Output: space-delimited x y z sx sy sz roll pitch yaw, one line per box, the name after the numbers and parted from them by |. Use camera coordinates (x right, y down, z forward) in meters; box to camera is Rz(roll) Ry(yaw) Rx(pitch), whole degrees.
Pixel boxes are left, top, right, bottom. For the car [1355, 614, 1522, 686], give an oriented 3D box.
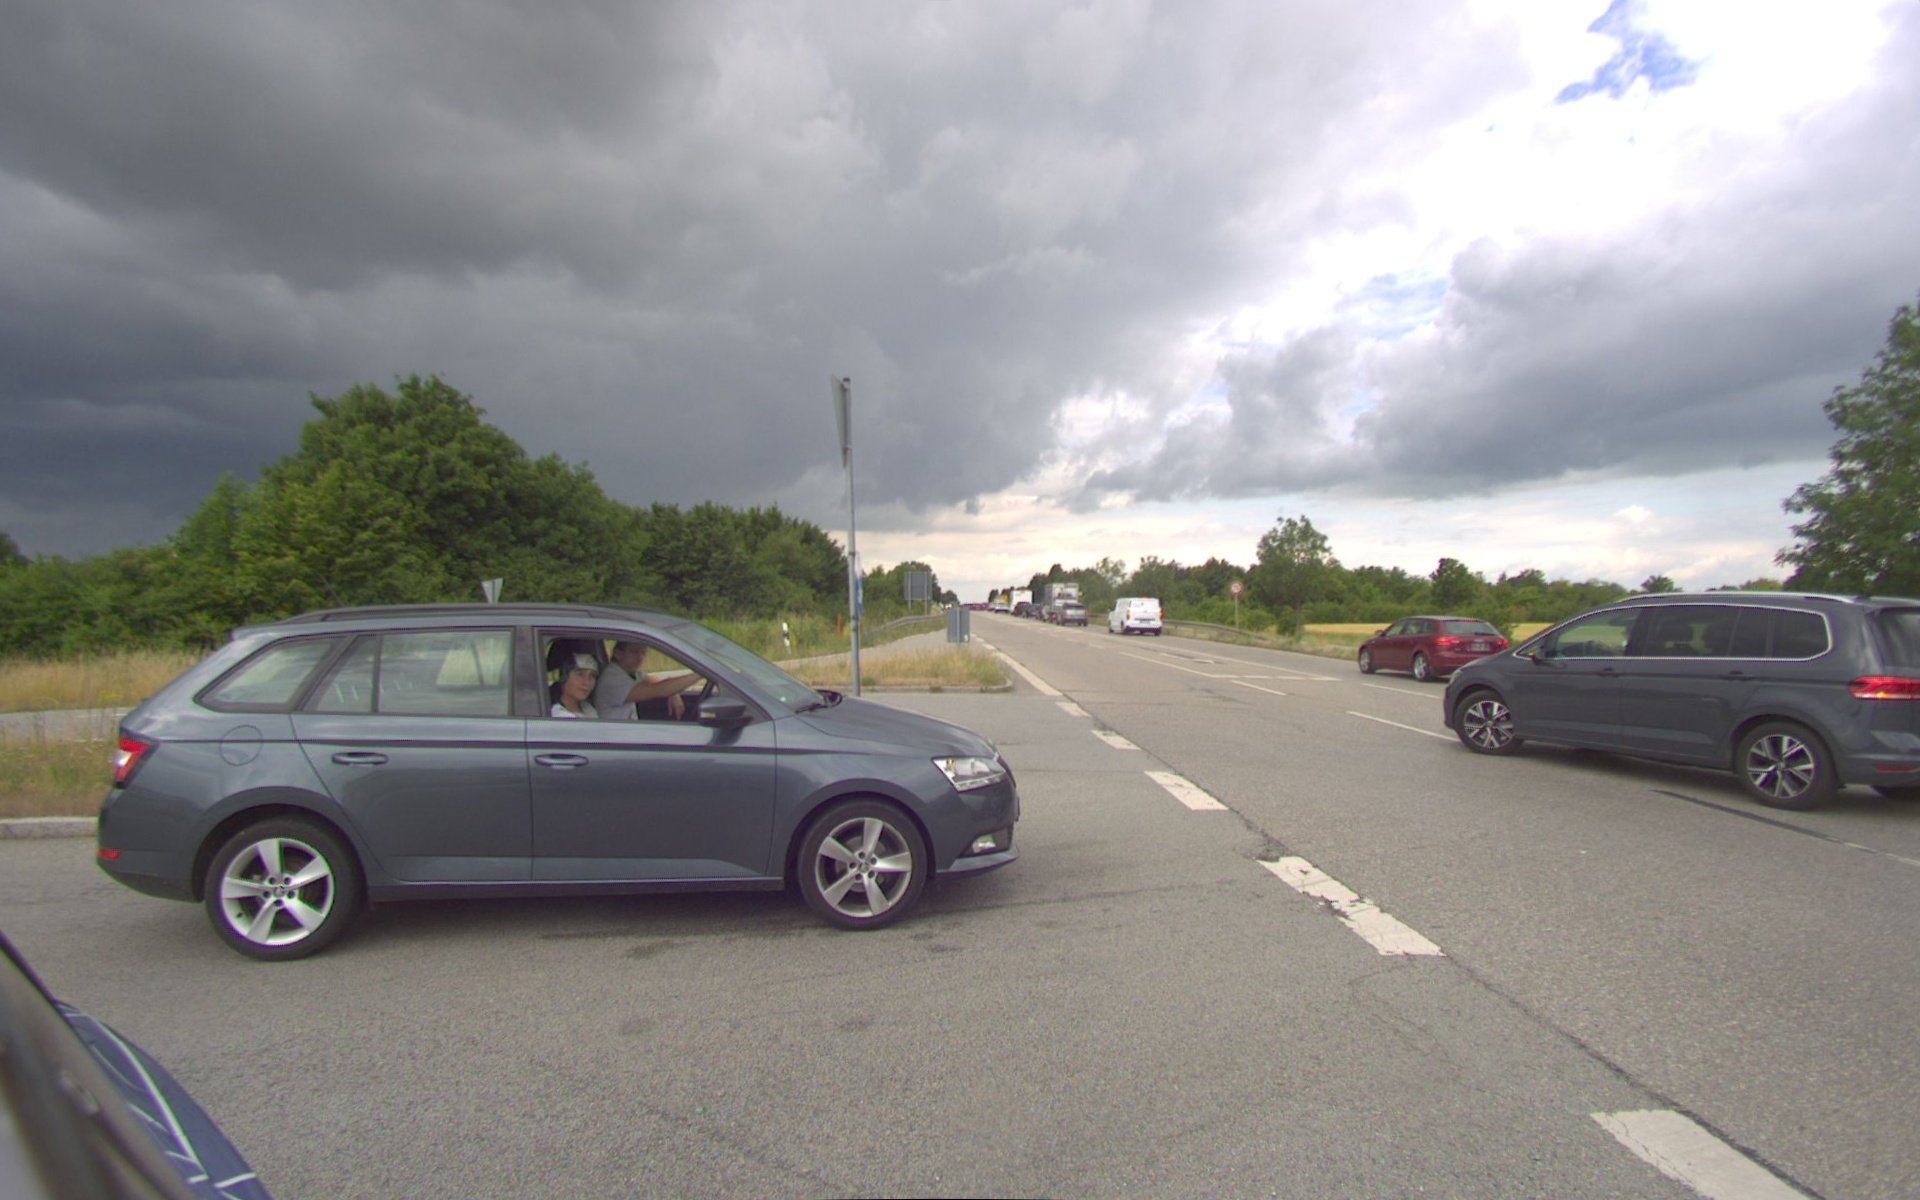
10.395 1.038 22.331 1.654 1.412 4.090 1 -1 -1 | car

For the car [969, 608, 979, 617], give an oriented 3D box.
2.884 2.498 206.208 1.831 1.763 4.001 0 -1 -1 | car

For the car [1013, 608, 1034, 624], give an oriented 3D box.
6.971 1.773 111.364 1.831 1.763 4.002 0 -1 -2 | car

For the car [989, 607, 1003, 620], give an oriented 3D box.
5.521 2.083 156.884 1.771 2.029 4.002 -1 -1 -3 | car

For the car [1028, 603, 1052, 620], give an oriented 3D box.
7.368 1.112 93.517 1.822 1.537 4.001 -1 -1 -1 | car

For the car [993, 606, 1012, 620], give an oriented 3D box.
5.979 1.915 143.782 2.307 1.936 4.877 -1 -1 -2 | car

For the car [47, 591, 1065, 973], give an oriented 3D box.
-1.672 0.705 5.072 4.052 1.458 1.722 -1 0 -8 | car

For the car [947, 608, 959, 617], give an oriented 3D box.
-1.209 2.118 172.981 1.971 1.493 4.002 0 -1 -2 | car

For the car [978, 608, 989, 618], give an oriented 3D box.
4.130 2.309 177.805 1.831 1.763 4.001 0 -1 -1 | car

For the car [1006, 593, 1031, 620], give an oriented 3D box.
7.059 0.815 122.145 2.307 3.052 6.561 -1 -1 -2 | car

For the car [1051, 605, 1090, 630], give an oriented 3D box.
7.744 1.212 71.213 1.970 1.636 4.264 2 -1 -3 | car

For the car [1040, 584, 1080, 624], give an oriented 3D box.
8.002 0.399 81.778 2.307 3.052 6.560 2 -1 -2 | car

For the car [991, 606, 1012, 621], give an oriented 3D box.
5.518 1.839 135.285 2.307 1.936 4.877 -1 -1 -2 | car

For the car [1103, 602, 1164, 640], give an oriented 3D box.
9.141 1.096 53.709 2.082 1.900 5.393 0 -1 -2 | car

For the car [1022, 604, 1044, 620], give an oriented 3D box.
7.350 1.204 102.674 1.822 1.537 4.001 -1 -1 -2 | car

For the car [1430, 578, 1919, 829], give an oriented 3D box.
6.530 0.729 9.020 1.723 1.671 4.304 1 -1 -19 | car
